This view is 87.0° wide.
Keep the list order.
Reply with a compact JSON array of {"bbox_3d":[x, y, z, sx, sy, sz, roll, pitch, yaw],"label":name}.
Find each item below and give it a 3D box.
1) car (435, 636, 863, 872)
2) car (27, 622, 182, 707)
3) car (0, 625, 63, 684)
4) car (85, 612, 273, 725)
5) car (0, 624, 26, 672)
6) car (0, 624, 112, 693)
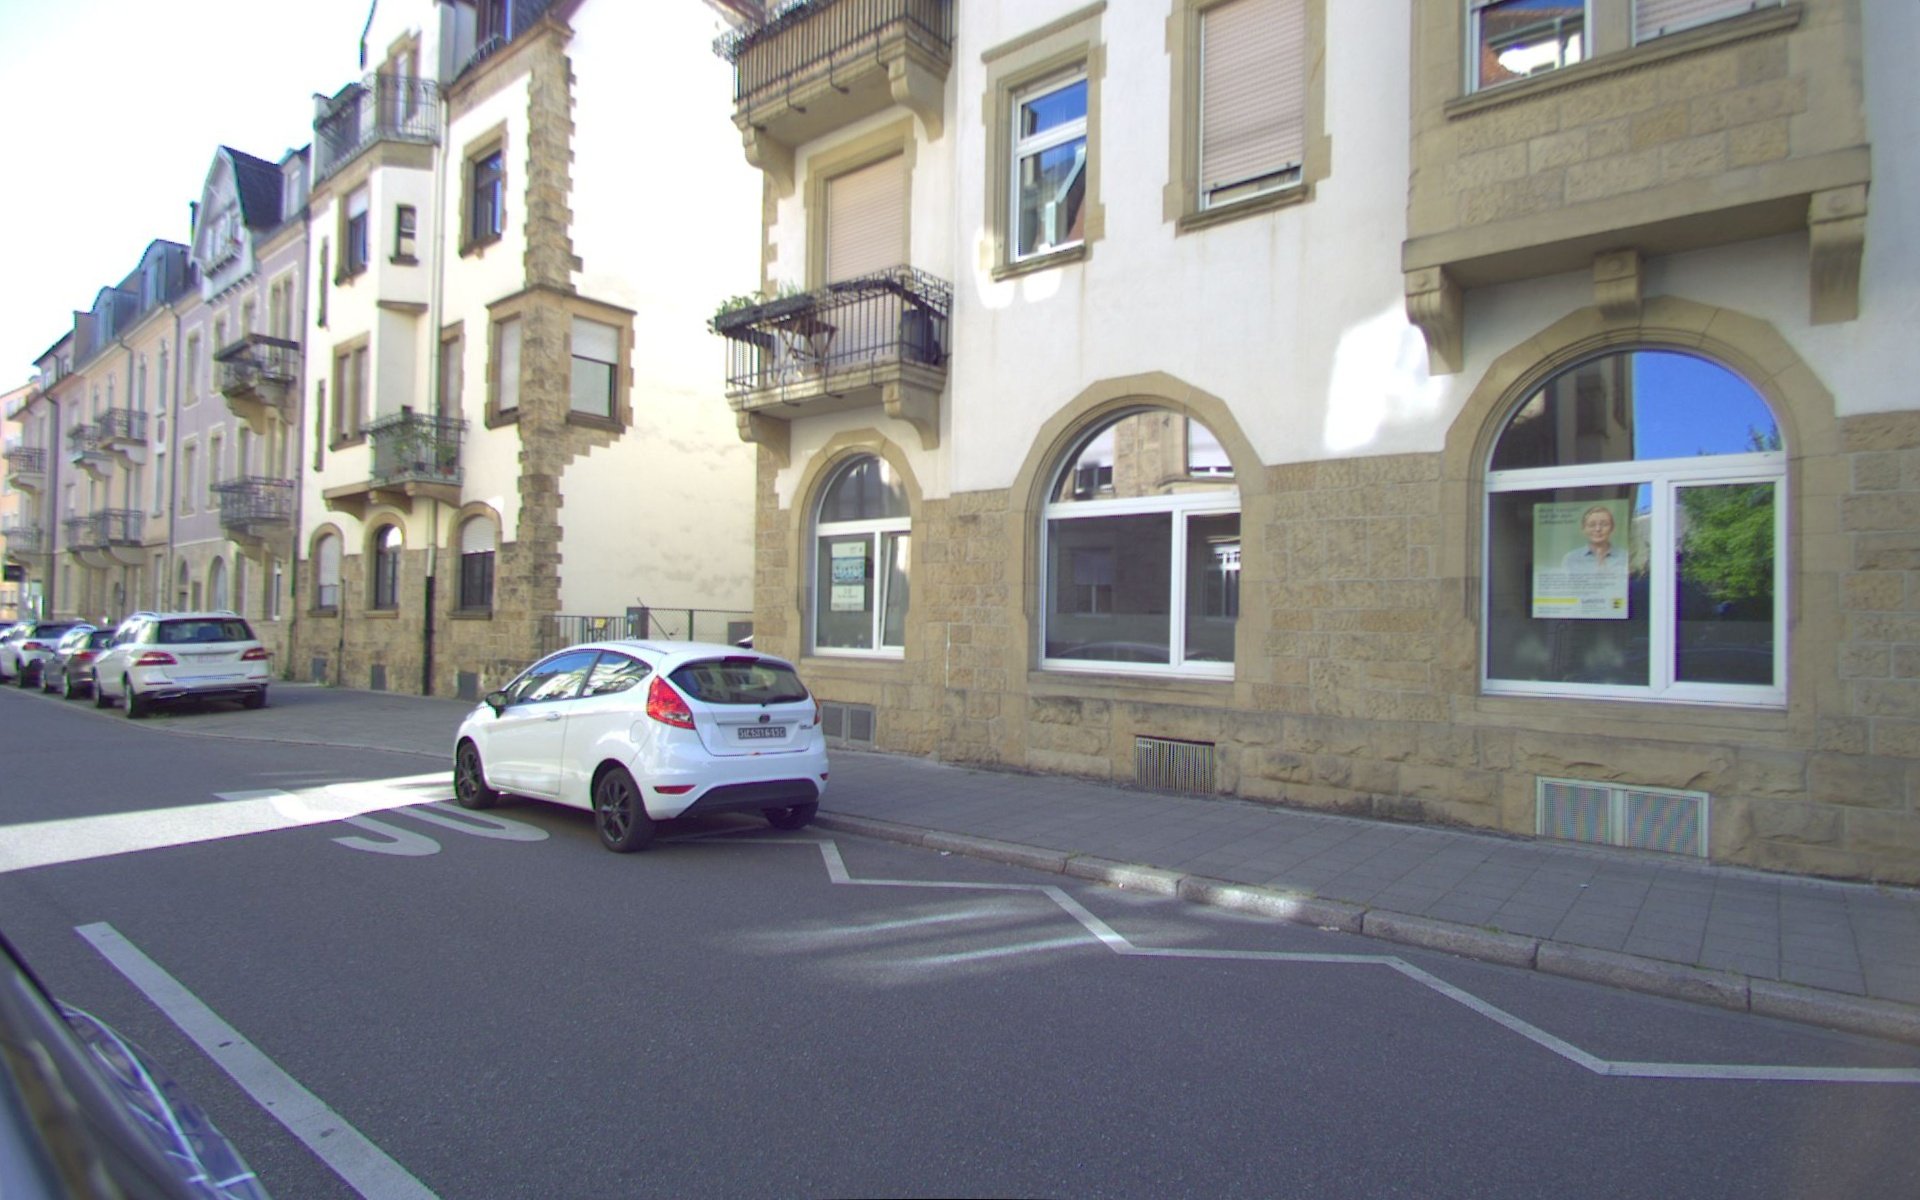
[{"bbox_3d":[-2.630,1.051,8.169,3.642,1.469,1.634,-2,-5,42],"label":"car"},{"bbox_3d":[-18.447,1.297,21.752,4.319,1.519,1.866,-1,2,41],"label":"car"},{"bbox_3d":[-27.158,1.523,28.874,4.317,1.511,1.833,-1,0,41],"label":"car"},{"bbox_3d":[-13.929,1.105,17.975,4.209,1.740,1.866,-1,0,41],"label":"car"},{"bbox_3d":[-33.142,1.614,34.222,4.319,1.520,1.866,-1,0,41],"label":"car"},{"bbox_3d":[-22.950,1.390,25.434,4.319,1.520,1.866,-1,0,41],"label":"car"}]
